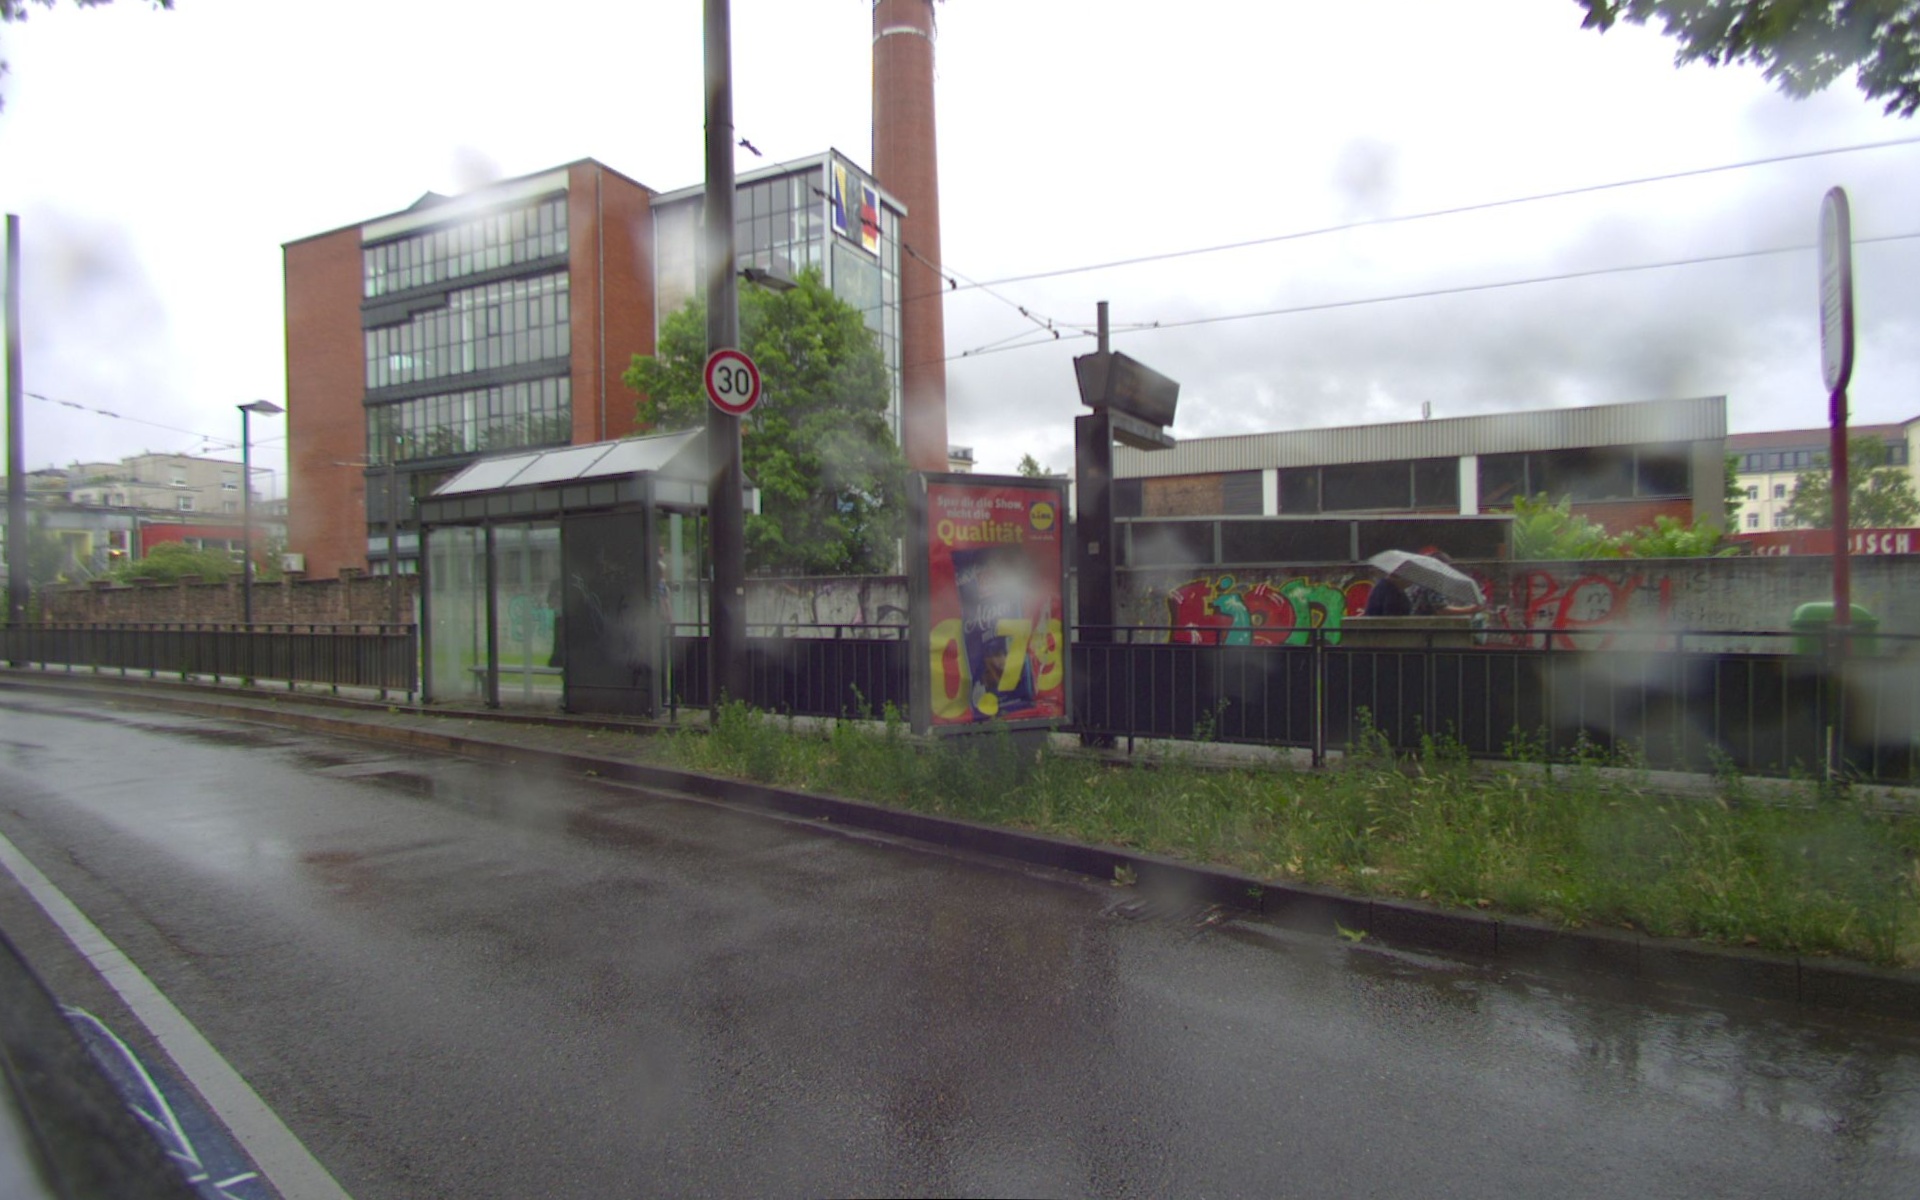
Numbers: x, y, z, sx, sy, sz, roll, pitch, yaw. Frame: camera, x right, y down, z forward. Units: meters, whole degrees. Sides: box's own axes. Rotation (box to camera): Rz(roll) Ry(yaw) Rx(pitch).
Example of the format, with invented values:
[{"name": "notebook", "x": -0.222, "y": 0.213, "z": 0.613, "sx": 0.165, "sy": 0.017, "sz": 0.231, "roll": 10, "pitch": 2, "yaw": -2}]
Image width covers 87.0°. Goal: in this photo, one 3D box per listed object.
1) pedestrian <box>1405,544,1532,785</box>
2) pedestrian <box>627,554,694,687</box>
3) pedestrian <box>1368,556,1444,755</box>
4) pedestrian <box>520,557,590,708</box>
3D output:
[{"name": "pedestrian", "x": 4.131, "y": 0.494, "z": 8.212, "sx": 0.841, "sy": 1.818, "sz": 0.819, "roll": -1, "pitch": 0, "yaw": 30}, {"name": "pedestrian", "x": -3.727, "y": 0.248, "z": 12.631, "sx": 0.490, "sy": 1.615, "sz": 0.711, "roll": -1, "pitch": 0, "yaw": 15}, {"name": "pedestrian", "x": 3.401, "y": 0.403, "z": 7.711, "sx": 0.492, "sy": 1.438, "sz": 0.606, "roll": -1, "pitch": 0, "yaw": 25}, {"name": "pedestrian", "x": -4.909, "y": 0.379, "z": 12.273, "sx": 0.620, "sy": 1.762, "sz": 0.565, "roll": -1, "pitch": 0, "yaw": -41}]
